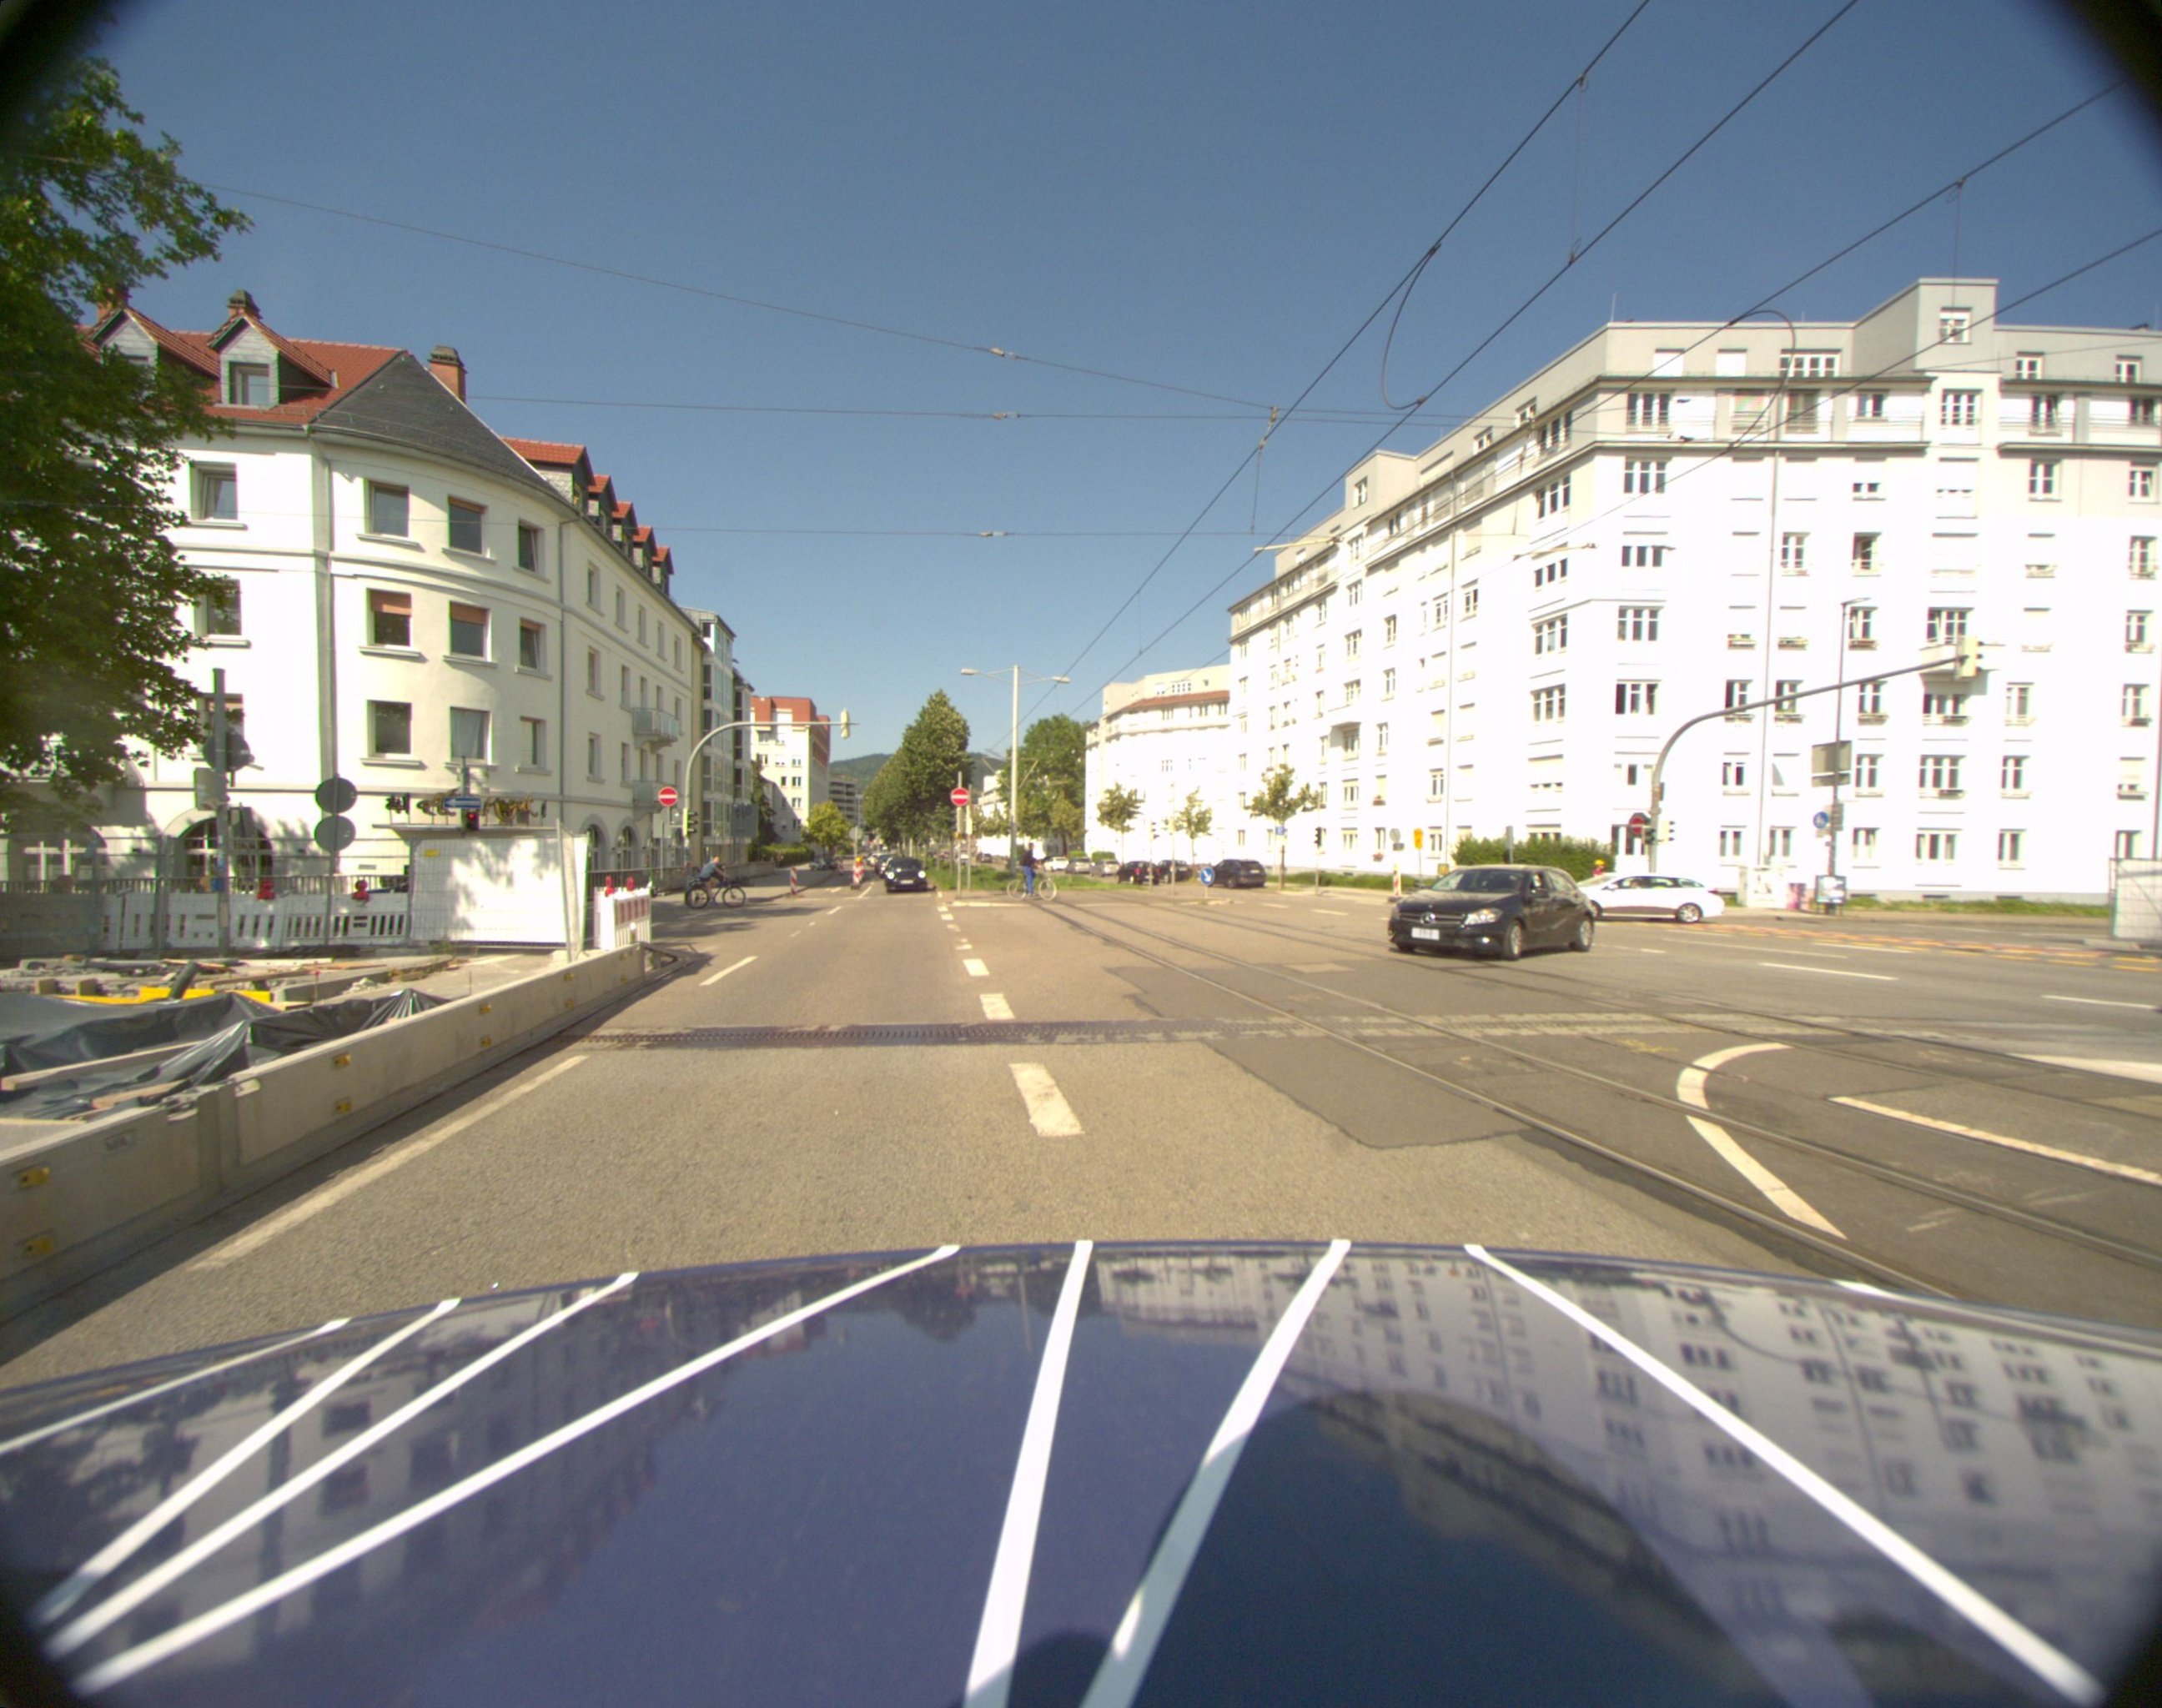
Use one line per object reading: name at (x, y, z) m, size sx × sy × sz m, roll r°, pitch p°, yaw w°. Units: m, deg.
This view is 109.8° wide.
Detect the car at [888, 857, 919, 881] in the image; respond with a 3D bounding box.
car at (-10.767, 0.856, 46.120) m, size 1.769 × 1.346 × 3.995 m, roll -1°, pitch 0°, yaw -13°

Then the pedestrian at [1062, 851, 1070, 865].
pedestrian at (-1.806, 0.504, 91.547) m, size 0.859 × 1.656 × 0.909 m, roll 1°, pitch 1°, yaw -11°

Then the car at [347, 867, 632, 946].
car at (-12.574, 1.062, 16.463) m, size 4.552 × 1.472 × 1.674 m, roll -1°, pitch 0°, yaw -12°

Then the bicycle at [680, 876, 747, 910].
bicycle at (-11.395, 1.210, 23.614) m, size 1.821 × 0.985 × 0.709 m, roll 0°, pitch 1°, yaw -21°

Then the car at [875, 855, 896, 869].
car at (-20.191, 0.807, 78.463) m, size 1.769 × 1.346 × 3.993 m, roll -1°, pitch 0°, yaw -19°

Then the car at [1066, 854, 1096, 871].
car at (-0.044, 0.789, 69.649) m, size 1.741 × 1.476 × 3.734 m, roll 0°, pitch 1°, yaw -16°

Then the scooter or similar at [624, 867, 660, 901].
scooter or similar at (-14.984, 1.003, 25.939) m, size 0.338 × 1.111 × 1.305 m, roll 1°, pitch 0°, yaw 7°

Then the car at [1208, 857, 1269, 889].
car at (8.544, 0.987, 41.500) m, size 1.741 × 1.628 × 3.734 m, roll 0°, pitch 1°, yaw -16°

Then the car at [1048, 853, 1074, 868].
car at (-2.043, 0.650, 76.484) m, size 1.741 × 1.476 × 3.734 m, roll 0°, pitch 1°, yaw -16°

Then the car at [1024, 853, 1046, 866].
car at (-5.410, 0.590, 89.142) m, size 1.741 × 1.476 × 3.734 m, roll 0°, pitch 1°, yaw -16°

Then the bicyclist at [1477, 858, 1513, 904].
bicyclist at (14.772, 0.955, 27.116) m, size 0.624 × 1.581 × 0.916 m, roll 0°, pitch 2°, yaw -21°

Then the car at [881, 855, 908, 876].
car at (-12.856, 0.786, 52.242) m, size 1.769 × 1.346 × 3.994 m, roll -1°, pitch 0°, yaw -15°

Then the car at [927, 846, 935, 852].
car at (-40.306, -1.330, 204.240) m, size 1.800 × 1.672 × 3.735 m, roll 0°, pitch 1°, yaw -14°

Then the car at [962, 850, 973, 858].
car at (-21.956, 0.075, 146.437) m, size 1.741 × 1.476 × 3.735 m, roll 1°, pitch 0°, yaw -14°

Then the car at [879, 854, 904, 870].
car at (-16.562, 0.703, 66.216) m, size 1.769 × 1.346 × 3.993 m, roll -1°, pitch 0°, yaw -19°

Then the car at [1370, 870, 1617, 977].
car at (6.767, 1.021, 12.253) m, size 4.632 × 1.399 × 1.699 m, roll 2°, pitch -1°, yaw -37°

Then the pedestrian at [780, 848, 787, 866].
pedestrian at (-29.115, 0.327, 74.299) m, size 0.599 × 1.753 × 0.751 m, roll 0°, pitch 1°, yaw -18°

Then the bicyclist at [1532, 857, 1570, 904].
bicyclist at (16.111, 0.897, 26.048) m, size 0.625 × 1.570 × 0.916 m, roll -1°, pitch 1°, yaw -25°

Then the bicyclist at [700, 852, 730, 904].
bicyclist at (-11.361, 0.735, 23.589) m, size 0.785 × 1.541 × 0.708 m, roll 0°, pitch 3°, yaw -21°

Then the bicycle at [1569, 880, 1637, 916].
bicycle at (17.489, 1.447, 25.486) m, size 0.605 × 1.093 × 1.810 m, roll 0°, pitch 1°, yaw -27°

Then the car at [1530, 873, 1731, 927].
car at (15.938, 1.313, 22.245) m, size 4.479 × 1.404 × 1.703 m, roll 0°, pitch 1°, yaw 8°

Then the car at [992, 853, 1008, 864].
car at (-12.001, 0.631, 111.851) m, size 1.741 × 1.476 × 3.734 m, roll 0°, pitch 1°, yaw -16°

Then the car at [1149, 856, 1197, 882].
car at (5.968, 0.936, 49.703) m, size 1.742 × 1.628 × 3.734 m, roll 0°, pitch 1°, yaw -18°

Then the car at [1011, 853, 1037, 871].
car at (-5.169, 0.726, 68.184) m, size 1.698 × 1.547 × 3.651 m, roll 1°, pitch 0°, yaw -14°

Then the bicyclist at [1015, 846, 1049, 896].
bicyclist at (-1.658, 0.565, 25.708) m, size 1.009 × 1.644 × 0.808 m, roll -2°, pitch -1°, yaw -9°

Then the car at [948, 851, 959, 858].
car at (-26.073, 0.131, 155.158) m, size 1.800 × 1.476 × 3.735 m, roll 0°, pitch 1°, yaw -14°

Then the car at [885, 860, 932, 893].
car at (-7.522, 0.951, 33.420) m, size 1.768 × 1.313 × 3.996 m, roll -1°, pitch 0°, yaw -10°

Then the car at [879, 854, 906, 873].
car at (-14.749, 0.713, 59.319) m, size 1.769 × 1.346 × 3.994 m, roll -1°, pitch 0°, yaw -17°

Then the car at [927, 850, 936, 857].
car at (-32.492, -0.202, 165.191) m, size 1.800 × 1.476 × 3.735 m, roll 0°, pitch 1°, yaw -14°

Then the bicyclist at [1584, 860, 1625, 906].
bicyclist at (17.496, 0.949, 25.407) m, size 0.598 × 1.469 × 0.916 m, roll 0°, pitch 1°, yaw -27°

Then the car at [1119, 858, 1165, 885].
car at (3.646, 1.007, 45.806) m, size 1.595 × 1.484 × 3.657 m, roll 1°, pitch 0°, yaw -15°

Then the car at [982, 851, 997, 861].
car at (-14.407, 0.317, 119.494) m, size 1.741 × 1.476 × 3.734 m, roll 0°, pitch 1°, yaw -16°

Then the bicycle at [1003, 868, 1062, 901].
bicycle at (-1.649, 1.021, 25.704) m, size 1.912 × 1.014 × 0.821 m, roll -1°, pitch 0°, yaw -8°

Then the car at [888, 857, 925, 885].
car at (-9.193, 0.871, 40.248) m, size 1.768 × 1.346 × 3.995 m, roll -1°, pitch 0°, yaw -12°

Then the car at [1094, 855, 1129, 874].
car at (2.425, 0.824, 61.827) m, size 1.741 × 1.476 × 3.734 m, roll 0°, pitch 1°, yaw -16°

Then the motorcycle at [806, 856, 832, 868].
motorcycle at (-24.526, 0.738, 71.130) m, size 2.179 × 1.159 × 0.743 m, roll 0°, pitch 1°, yaw -10°
